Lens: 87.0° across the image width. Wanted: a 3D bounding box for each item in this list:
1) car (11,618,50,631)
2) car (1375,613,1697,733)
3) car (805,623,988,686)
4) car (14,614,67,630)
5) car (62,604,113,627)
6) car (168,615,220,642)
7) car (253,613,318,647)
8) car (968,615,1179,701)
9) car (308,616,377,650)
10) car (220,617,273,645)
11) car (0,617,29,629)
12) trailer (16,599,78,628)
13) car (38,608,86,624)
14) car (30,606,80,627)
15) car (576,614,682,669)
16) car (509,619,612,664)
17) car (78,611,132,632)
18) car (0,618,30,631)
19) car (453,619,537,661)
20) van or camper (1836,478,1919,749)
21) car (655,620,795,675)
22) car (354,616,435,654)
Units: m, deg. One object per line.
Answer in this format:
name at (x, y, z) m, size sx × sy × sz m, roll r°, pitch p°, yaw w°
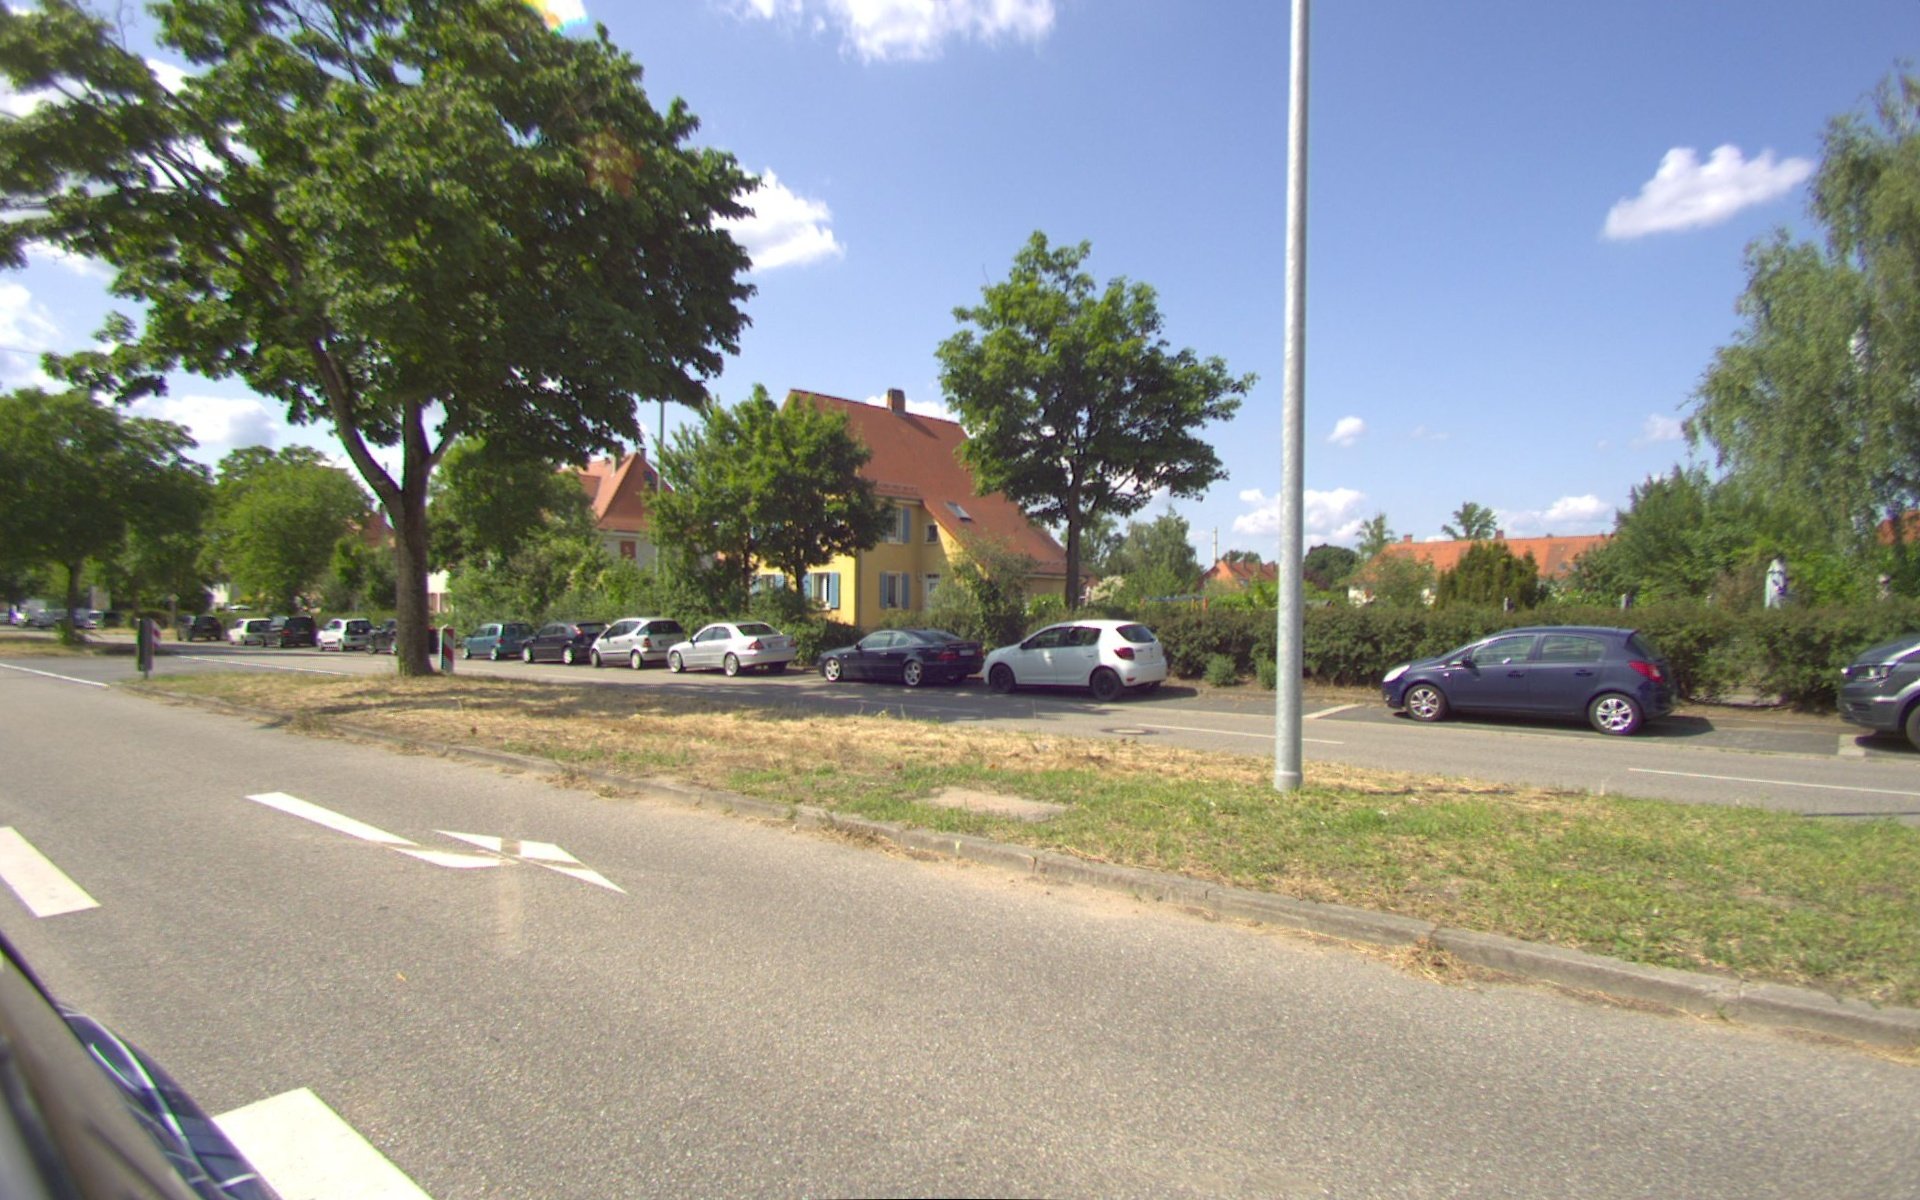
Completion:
car at (-113.804, 2.973, 123.975) m, size 1.646 × 1.475 × 3.828 m, roll -1°, pitch 1°, yaw -9°
car at (8.577, 0.984, 15.273) m, size 3.991 × 1.496 × 1.619 m, roll 0°, pitch 1°, yaw 42°
car at (-1.609, 1.252, 24.286) m, size 4.583 × 1.316 × 1.619 m, roll -1°, pitch 0°, yaw 42°
car at (-97.924, 2.358, 107.764) m, size 1.799 × 1.521 × 3.946 m, roll 0°, pitch 1°, yaw 40°
car at (-86.302, 1.511, 100.183) m, size 1.778 × 2.029 × 4.003 m, roll -1°, pitch 1°, yaw -3°
car at (-48.462, 1.799, 64.008) m, size 3.996 × 1.563 × 1.750 m, roll 0°, pitch 1°, yaw 39°
car at (-35.409, 1.552, 53.111) m, size 4.310 × 1.624 × 1.644 m, roll 0°, pitch 1°, yaw 39°
car at (2.270, 1.109, 20.892) m, size 4.123 × 1.496 × 1.671 m, roll 0°, pitch 1°, yaw 42°
car at (-29.565, 1.566, 48.446) m, size 3.843 × 1.462 × 1.644 m, roll 0°, pitch 1°, yaw 39°
car at (-40.361, 1.733, 57.218) m, size 3.531 × 1.472 × 1.578 m, roll 0°, pitch 1°, yaw 39°
car at (-121.100, 2.892, 128.991) m, size 1.646 × 1.358 × 3.828 m, roll -1°, pitch 1°, yaw -9°
trailer at (-105.698, 1.537, 117.237) m, size 2.781 × 3.131 × 5.767 m, roll -2°, pitch 0°, yaw -12°
car at (-91.870, 1.621, 103.559) m, size 1.550 × 1.408 × 4.003 m, roll -1°, pitch 1°, yaw -3°
car at (-93.836, 1.665, 104.965) m, size 1.778 × 2.029 × 4.003 m, roll -1°, pitch 1°, yaw -3°
car at (-10.452, 1.263, 31.870) m, size 3.739 × 1.569 × 1.388 m, roll -1°, pitch 1°, yaw 40°
car at (-13.789, 1.387, 34.821) m, size 4.353 × 1.405 × 1.388 m, roll -1°, pitch 1°, yaw 40°
car at (-79.266, 1.949, 93.849) m, size 1.778 × 1.874 × 4.003 m, roll -1°, pitch 0°, yaw -3°
car at (-116.730, 2.989, 124.421) m, size 1.646 × 1.475 × 3.828 m, roll -1°, pitch 1°, yaw -9°
car at (-17.606, 1.484, 38.286) m, size 3.474 × 1.405 × 1.547 m, roll 0°, pitch 1°, yaw 40°
van or camper at (14.050, 0.077, 10.548) m, size 7.320 × 3.135 × 2.234 m, roll -2°, pitch 0°, yaw 43°
car at (-6.685, 1.285, 28.459) m, size 4.530 × 1.380 × 1.495 m, roll -1°, pitch 0°, yaw 42°
car at (-24.444, 1.491, 43.726) m, size 4.099 × 1.492 × 1.644 m, roll -1°, pitch 0°, yaw 39°
